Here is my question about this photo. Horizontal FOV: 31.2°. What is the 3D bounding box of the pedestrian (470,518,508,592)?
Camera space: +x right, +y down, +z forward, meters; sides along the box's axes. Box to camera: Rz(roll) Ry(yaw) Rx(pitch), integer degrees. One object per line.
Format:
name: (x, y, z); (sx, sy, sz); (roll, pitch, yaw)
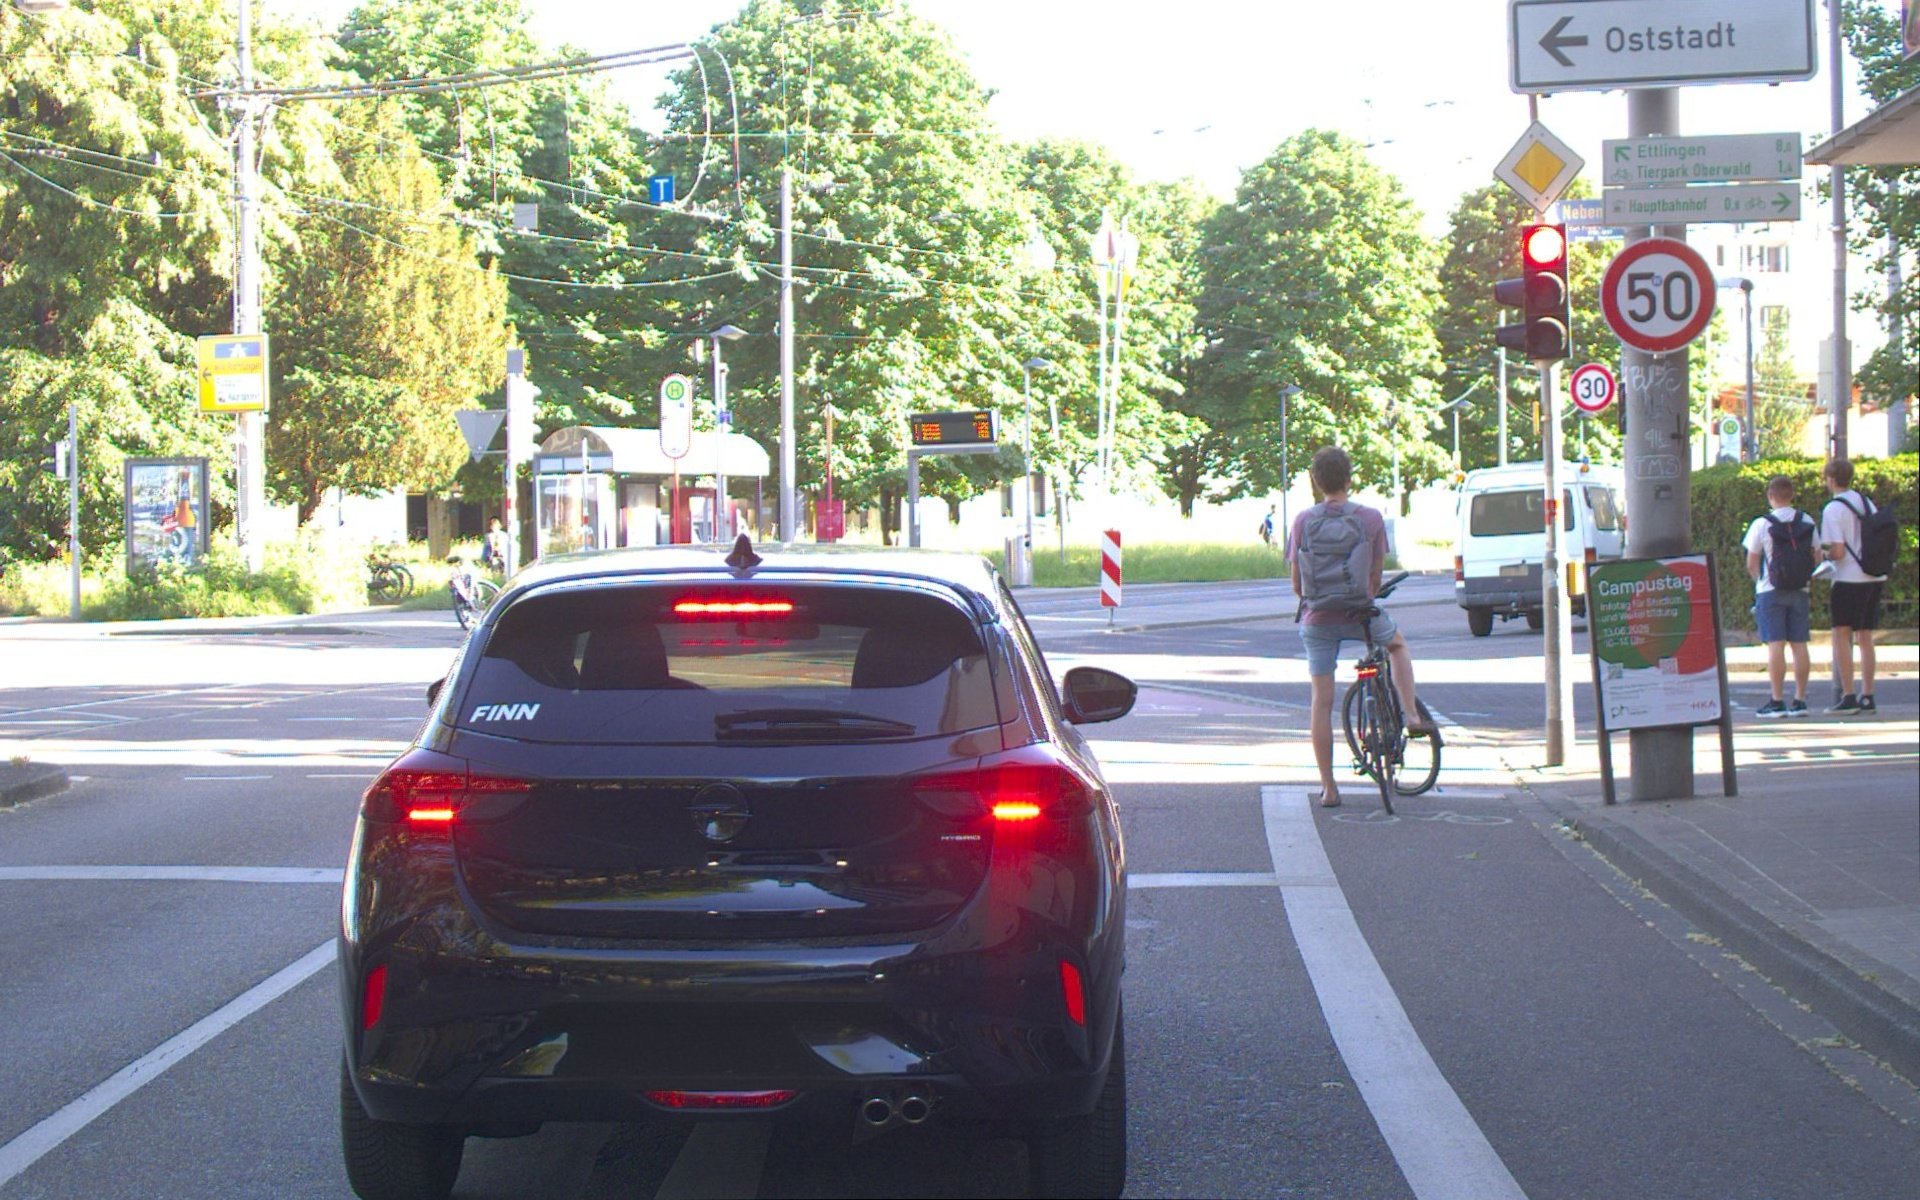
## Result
pedestrian: (-9.349, -0.899, 68.221); (0.570, 1.467, 0.665); (0, 1, 9)

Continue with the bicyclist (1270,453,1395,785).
bicyclist: (1.929, 0.089, 17.773); (0.534, 1.686, 0.567); (0, 1, 17)

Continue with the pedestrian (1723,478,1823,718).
pedestrian: (6.057, -0.020, 25.601); (0.633, 1.757, 0.582); (1, 0, 20)

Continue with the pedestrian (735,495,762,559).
pedestrian: (-6.274, -2.163, 101.910); (0.737, 1.865, 0.662); (1, 0, -6)

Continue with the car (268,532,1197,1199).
car: (-0.475, 0.566, 8.821); (1.840, 1.457, 3.984); (0, 1, -1)

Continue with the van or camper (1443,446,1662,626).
van or camper: (8.035, -0.841, 46.301); (2.031, 2.302, 4.535); (1, 1, 21)

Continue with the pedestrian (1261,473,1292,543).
pedestrian: (8.498, -2.465, 92.241); (0.603, 1.865, 0.519); (1, 0, -34)

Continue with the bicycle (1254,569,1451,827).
bicycle: (2.072, 0.471, 17.925); (0.753, 1.231, 2.014); (0, 1, 14)

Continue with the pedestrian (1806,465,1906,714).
pedestrian: (6.656, -0.082, 25.522); (0.633, 1.814, 0.744); (1, 0, 20)

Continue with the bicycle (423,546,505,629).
bicycle: (-6.670, -0.181, 46.301); (0.796, 1.061, 2.185); (0, 1, -1)
